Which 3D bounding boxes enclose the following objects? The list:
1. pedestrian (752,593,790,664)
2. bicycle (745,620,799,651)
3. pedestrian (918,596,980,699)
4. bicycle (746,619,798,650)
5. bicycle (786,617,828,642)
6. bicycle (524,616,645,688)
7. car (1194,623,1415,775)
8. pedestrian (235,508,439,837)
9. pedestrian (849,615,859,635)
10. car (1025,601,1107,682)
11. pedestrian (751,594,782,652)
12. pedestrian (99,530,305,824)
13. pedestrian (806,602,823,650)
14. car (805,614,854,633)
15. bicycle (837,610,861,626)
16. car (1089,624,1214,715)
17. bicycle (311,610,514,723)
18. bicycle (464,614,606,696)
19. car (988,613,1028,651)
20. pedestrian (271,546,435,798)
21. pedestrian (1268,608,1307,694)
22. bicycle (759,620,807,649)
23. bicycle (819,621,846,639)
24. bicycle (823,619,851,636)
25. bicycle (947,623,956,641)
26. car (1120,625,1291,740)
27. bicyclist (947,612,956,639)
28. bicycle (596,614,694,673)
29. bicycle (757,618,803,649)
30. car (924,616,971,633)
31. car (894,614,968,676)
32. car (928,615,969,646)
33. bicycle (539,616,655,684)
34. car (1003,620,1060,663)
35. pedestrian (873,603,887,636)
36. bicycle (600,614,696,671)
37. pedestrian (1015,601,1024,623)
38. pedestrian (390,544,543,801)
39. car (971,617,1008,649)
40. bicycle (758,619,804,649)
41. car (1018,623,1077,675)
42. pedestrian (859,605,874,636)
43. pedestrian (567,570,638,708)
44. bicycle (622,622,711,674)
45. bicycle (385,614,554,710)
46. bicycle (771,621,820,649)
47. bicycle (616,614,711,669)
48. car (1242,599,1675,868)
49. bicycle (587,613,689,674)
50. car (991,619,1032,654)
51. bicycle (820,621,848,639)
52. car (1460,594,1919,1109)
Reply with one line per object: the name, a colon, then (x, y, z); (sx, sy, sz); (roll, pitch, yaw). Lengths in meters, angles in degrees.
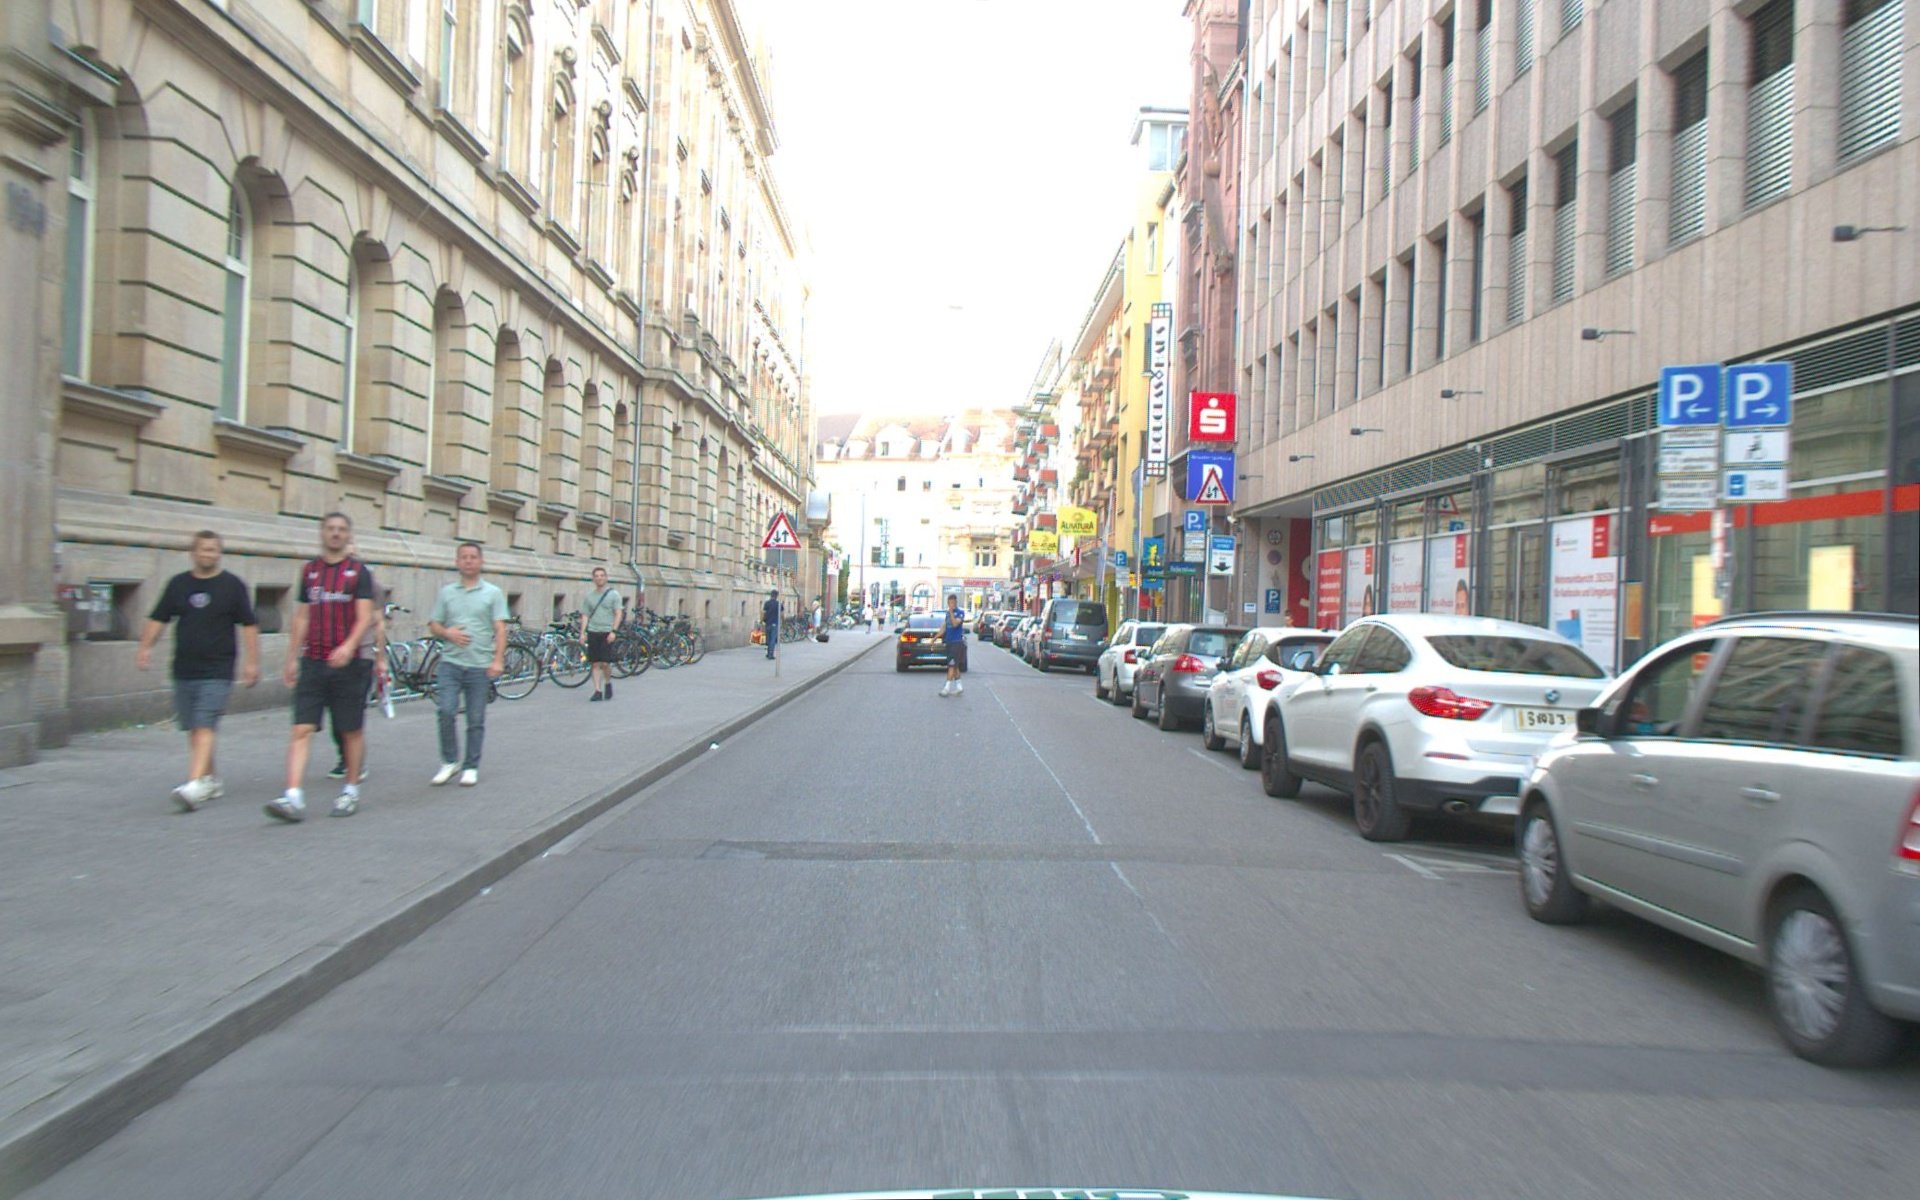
pedestrian: (-4.896, 0.749, 42.863); (0.793, 1.781, 0.969); (3, -2, -1)
bicycle: (-7.012, 1.321, 61.737); (1.898, 1.080, 0.619); (3, -1, -2)
pedestrian: (-0.199, 0.839, 29.594); (0.814, 1.820, 0.766); (1, -1, -43)
bicycle: (-7.150, 1.323, 62.983); (1.900, 1.080, 0.619); (3, -1, -7)
bicycle: (-7.500, 1.447, 81.115); (1.906, 1.080, 0.617); (5, -2, -16)
bicycle: (-6.413, 0.888, 28.311); (1.901, 1.097, 0.729); (4, -1, -8)
car: (3.786, 1.041, 18.775); (1.623, 1.473, 3.868); (3, -1, 0)
pedestrian: (-3.780, 0.426, 10.103); (0.701, 1.862, 0.870); (5, -1, 6)
pedestrian: (-8.119, 1.904, 126.424); (0.498, 1.505, 0.513); (2, -1, 23)
car: (2.967, 1.158, 47.210); (1.809, 2.094, 5.052); (3, -1, -2)
pedestrian: (-6.156, 0.721, 52.646); (0.812, 1.776, 0.769); (4, -1, -1)
pedestrian: (-4.614, 0.455, 10.118); (0.740, 1.670, 0.749); (5, -1, 6)
pedestrian: (-5.843, 1.040, 66.518); (0.577, 1.883, 0.753); (3, -1, -7)
car: (-10.978, 1.978, 138.891); (3.913, 1.527, 1.887); (1, 0, -9)
bicycle: (-8.693, 1.412, 129.596); (1.760, 1.127, 0.499); (3, -1, -6)
car: (3.430, 1.217, 30.286); (1.623, 1.473, 4.306); (3, -1, -2)
bicycle: (-6.095, 0.741, 18.504); (1.981, 1.128, 0.729); (4, -1, -8)
bicycle: (-6.364, 0.823, 24.828); (1.899, 1.097, 0.729); (4, -1, -4)
car: (2.348, 1.559, 82.389); (1.716, 1.697, 4.755); (4, 0, 0)
pedestrian: (-4.369, 0.506, 11.963); (0.714, 1.697, 0.858); (5, -1, 2)
pedestrian: (6.470, 1.000, 32.694); (0.635, 1.664, 0.650); (0, -1, -2)
bicycle: (-7.184, 1.398, 67.214); (1.900, 1.080, 0.619); (3, -2, -7)
bicycle: (-8.470, 1.995, 109.855); (1.758, 1.127, 0.500); (2, -1, -2)
bicycle: (-8.325, 1.869, 112.036); (1.757, 1.127, 0.500); (2, -1, 2)
bicycle: (-0.571, 2.088, 108.864); (0.525, 1.127, 1.800); (2, -1, 1)
car: (3.494, 1.141, 24.314); (1.623, 1.473, 4.443); (3, -1, -3)
bicyclist: (-0.557, 1.678, 108.850); (0.513, 1.787, 0.620); (2, -1, 1)
bicycle: (-6.547, 0.897, 34.438); (1.901, 1.097, 0.729); (4, -1, -8)
bicycle: (-7.101, 1.324, 65.203); (1.760, 1.127, 0.499); (3, -2, -7)
car: (-1.277, 2.429, 165.153); (4.262, 1.590, 1.868); (1, -1, 22)
car: (-0.722, 1.111, 42.366); (1.729, 1.399, 4.789); (2, 0, -1)
car: (-0.562, 1.545, 84.305); (1.838, 1.499, 4.001); (1, 0, 3)
bicycle: (-6.450, 0.886, 29.500); (1.901, 1.097, 0.729); (4, -1, -8)
car: (2.756, 1.586, 64.575); (1.658, 1.435, 4.635); (4, 0, -4)
pedestrian: (-4.875, 1.179, 100.527); (0.729, 1.927, 1.050); (3, -1, 0)
bicycle: (-6.629, 0.905, 35.208); (1.901, 1.097, 0.729); (4, -1, -8)
pedestrian: (4.676, 0.972, 129.918); (0.635, 1.690, 0.794); (-1, -1, 1)
pedestrian: (-3.612, 0.516, 12.175); (0.711, 1.772, 0.839); (5, -1, 2)
car: (1.680, 1.803, 91.619); (1.757, 1.638, 4.488); (4, 0, 3)
bicycle: (-7.175, 1.355, 66.401); (1.760, 1.127, 0.499); (3, -2, -7)
car: (2.836, 1.563, 54.291); (1.652, 1.478, 4.497); (4, 0, 0)
pedestrian: (-5.677, 1.258, 100.314); (0.726, 1.844, 1.008); (4, -1, -2)
pedestrian: (-4.880, 0.526, 22.621); (0.702, 1.811, 0.800); (3, -1, -1)
bicycle: (-6.622, 1.082, 37.390); (1.898, 1.064, 0.721); (3, -1, -6)
bicycle: (-6.308, 0.798, 21.295); (1.989, 1.097, 0.726); (4, -2, -21)
bicycle: (-6.781, 1.440, 68.265); (1.899, 1.080, 0.619); (3, -2, -3)
bicycle: (-6.524, 0.911, 36.476); (1.898, 1.097, 0.747); (3, -1, -2)
car: (3.705, 0.919, 13.289); (1.741, 1.695, 4.810); (3, -1, -3)
bicycle: (-6.439, 0.877, 33.125); (1.901, 1.097, 0.729); (4, -1, -8)
car: (2.395, 1.688, 77.419); (1.657, 1.439, 4.755); (4, 0, 0)
bicycle: (-8.338, 1.993, 109.512); (1.758, 1.127, 0.500); (2, -1, -1)
car: (3.891, 0.854, 7.469); (1.705, 1.626, 4.713); (3, 0, -1)
